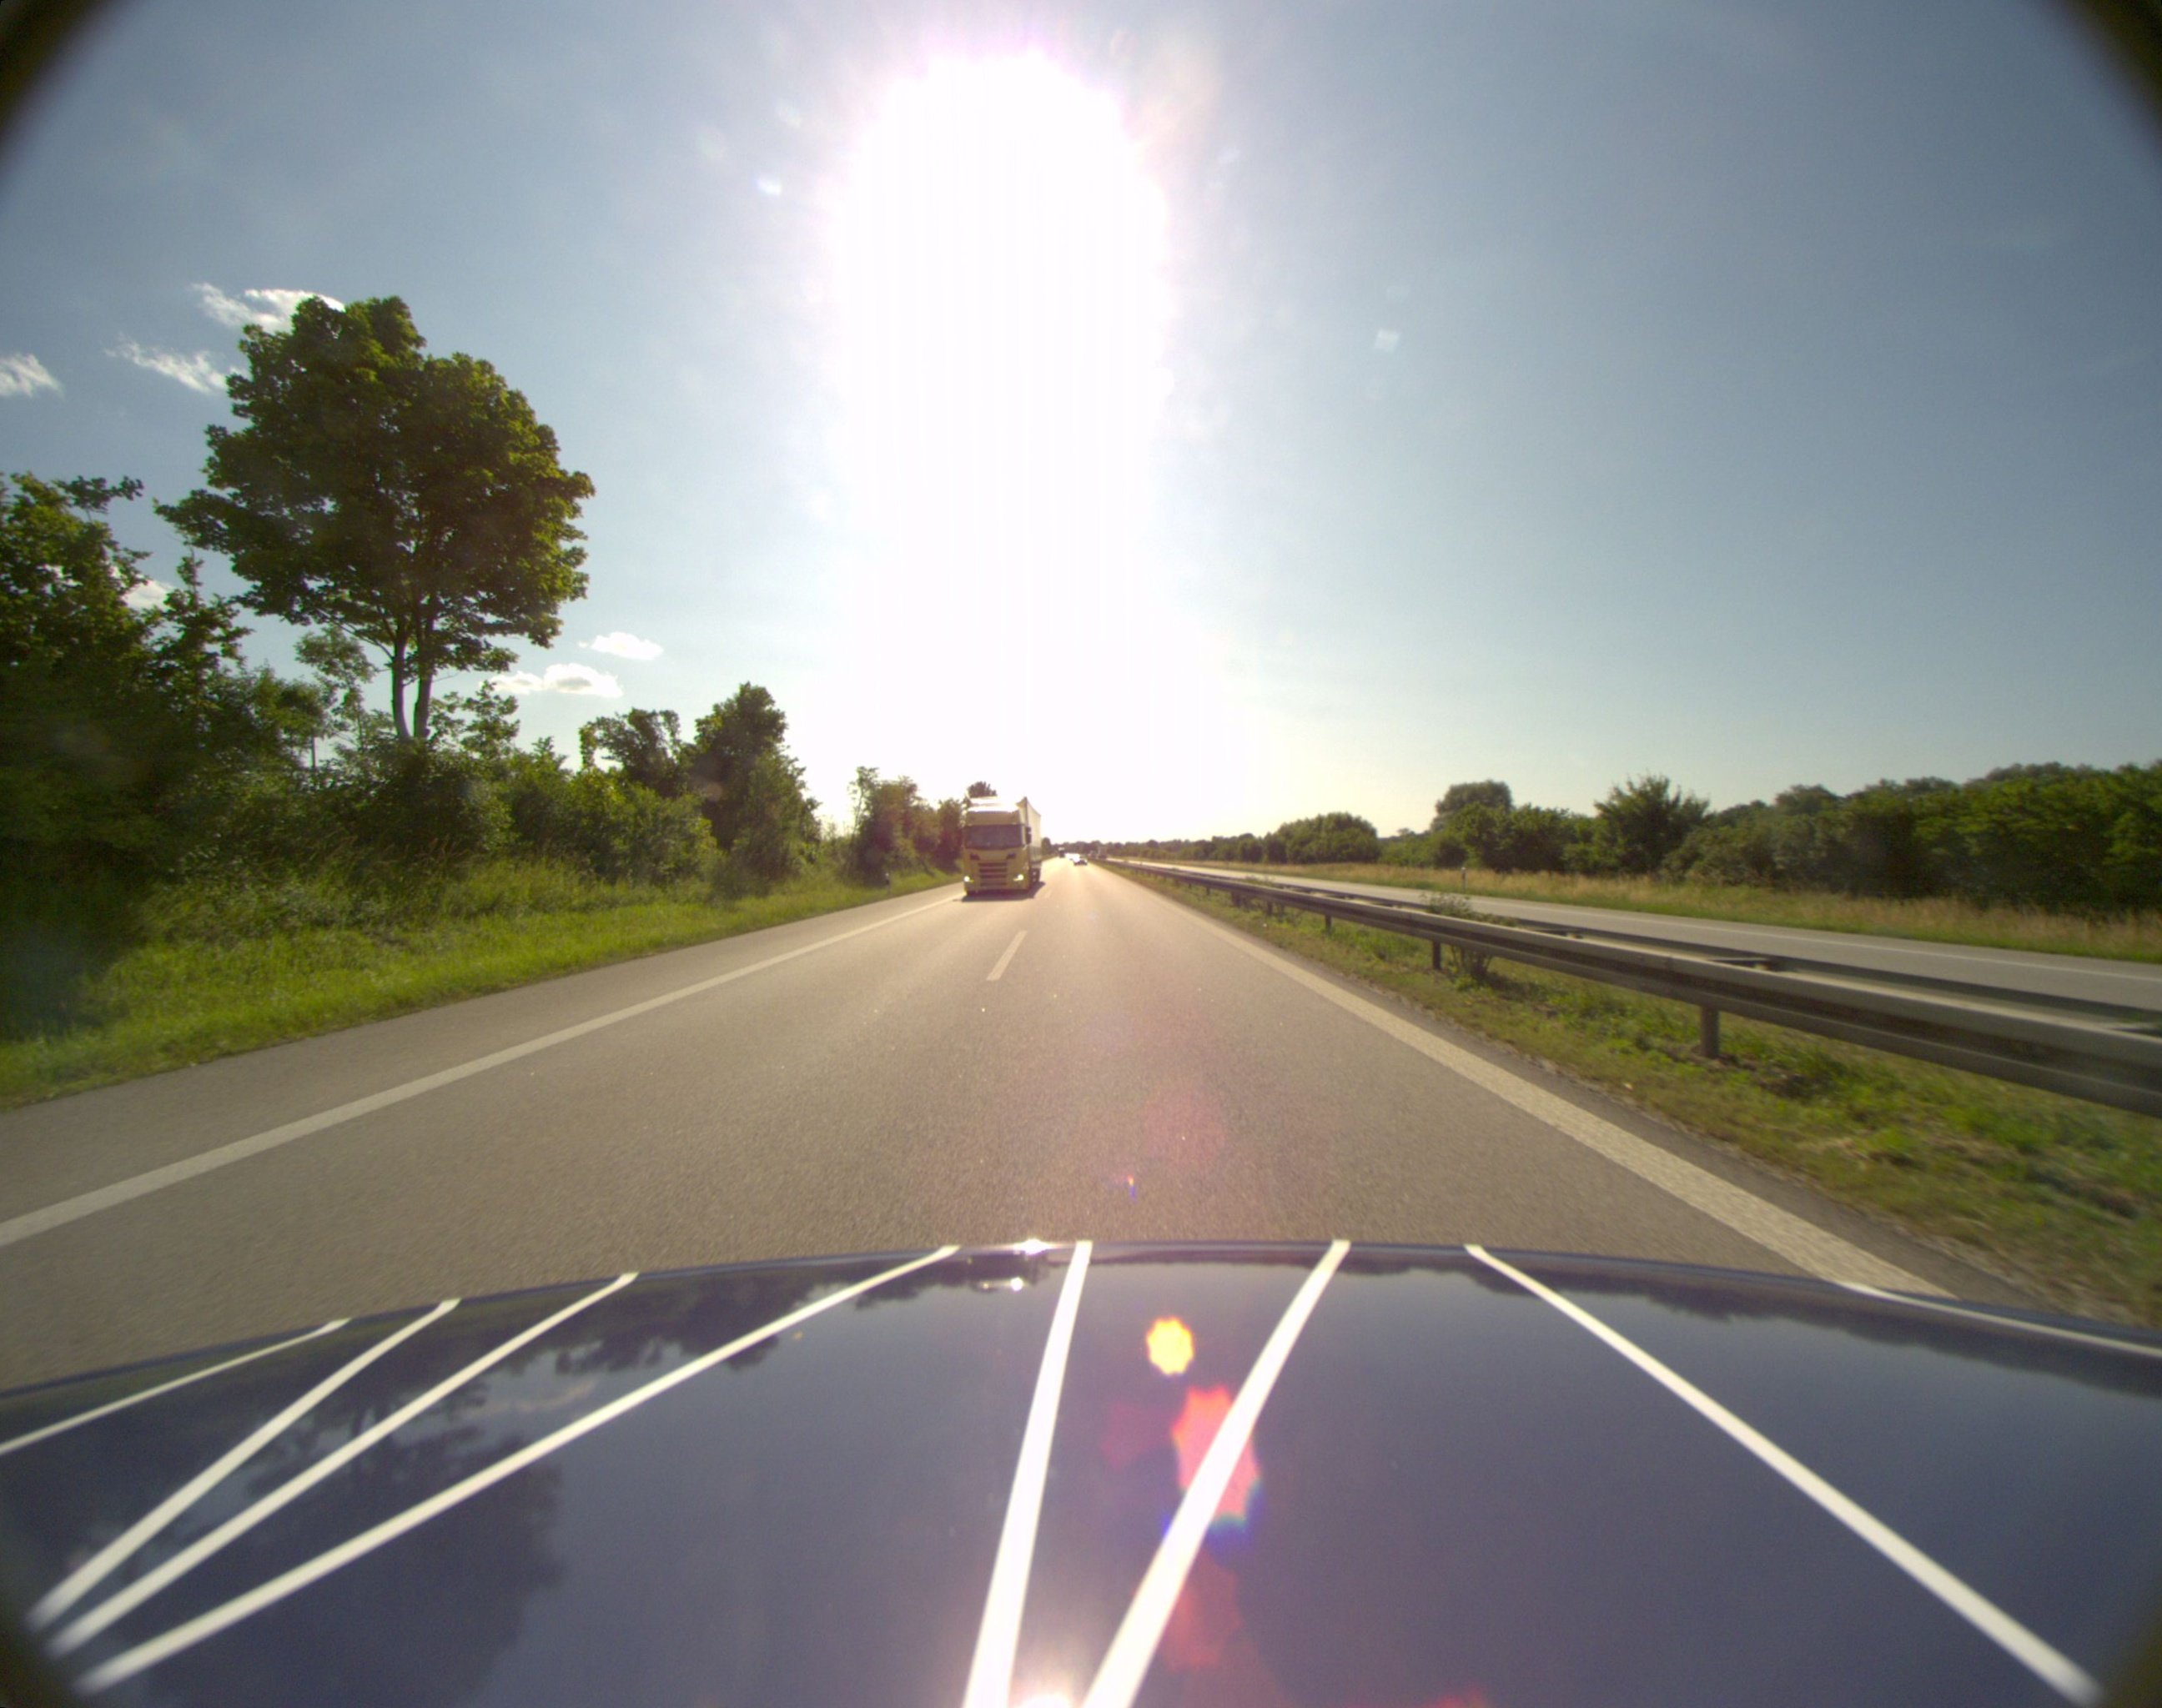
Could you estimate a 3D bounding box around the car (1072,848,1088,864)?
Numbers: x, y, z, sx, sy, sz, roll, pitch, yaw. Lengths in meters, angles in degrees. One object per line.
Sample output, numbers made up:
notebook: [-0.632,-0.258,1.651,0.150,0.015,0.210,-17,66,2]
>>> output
car: [-0.137,0.264,102.564,1.999,2.002,4.357,-2,1,-1]

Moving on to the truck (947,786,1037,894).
truck: [-3.657,-0.572,32.872,3.177,4.090,6.386,-2,1,-2]

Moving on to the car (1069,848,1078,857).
car: [-1.767,-0.341,182.748,1.998,2.002,4.000,-2,1,1]

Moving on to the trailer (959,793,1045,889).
trailer: [-3.758,-0.636,39.831,3.193,4.036,13.183,-2,1,-1]
